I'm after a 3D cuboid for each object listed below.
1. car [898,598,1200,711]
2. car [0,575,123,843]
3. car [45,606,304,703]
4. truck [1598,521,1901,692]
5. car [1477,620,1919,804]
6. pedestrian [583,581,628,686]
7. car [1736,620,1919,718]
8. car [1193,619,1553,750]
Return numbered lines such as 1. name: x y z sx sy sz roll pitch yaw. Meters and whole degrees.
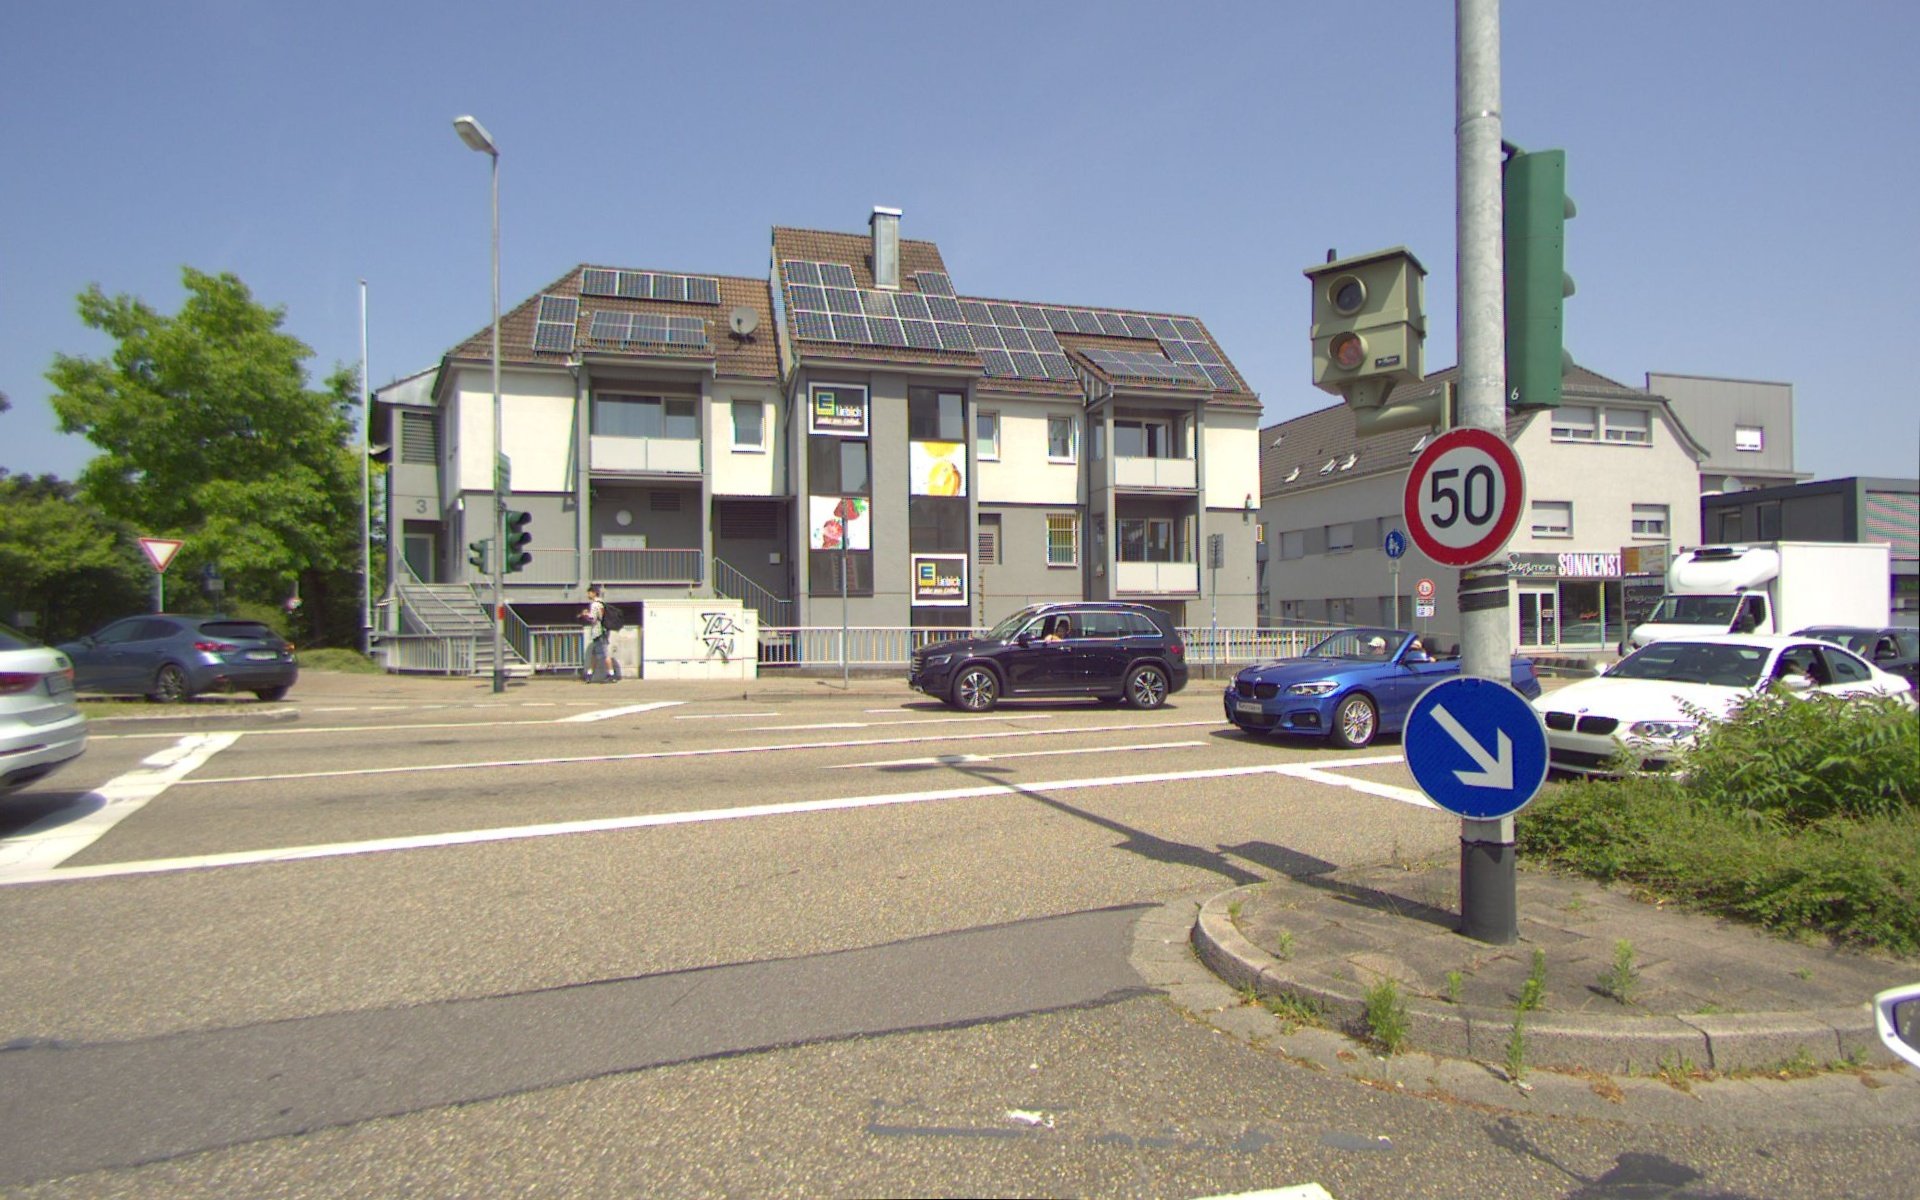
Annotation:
1. car: 1.394 0.843 16.385 4.515 1.678 1.995 1 0 -14
2. car: -7.857 0.602 5.697 4.503 1.591 1.807 1 0 -31
3. car: -13.102 0.871 16.749 4.189 1.468 1.495 -1 -2 22
4. truck: 17.900 0.233 22.711 6.937 3.463 2.260 2 -1 -23
5. car: 7.512 0.960 9.997 4.683 1.450 1.856 1 -1 -27
6. pedestrian: -6.996 0.642 19.829 0.735 2.041 0.499 -1 1 -34
7. car: 15.324 1.091 16.948 4.517 1.458 1.795 1 -1 -27
8. car: 5.212 0.963 12.613 4.291 1.384 1.856 1 -1 -27
